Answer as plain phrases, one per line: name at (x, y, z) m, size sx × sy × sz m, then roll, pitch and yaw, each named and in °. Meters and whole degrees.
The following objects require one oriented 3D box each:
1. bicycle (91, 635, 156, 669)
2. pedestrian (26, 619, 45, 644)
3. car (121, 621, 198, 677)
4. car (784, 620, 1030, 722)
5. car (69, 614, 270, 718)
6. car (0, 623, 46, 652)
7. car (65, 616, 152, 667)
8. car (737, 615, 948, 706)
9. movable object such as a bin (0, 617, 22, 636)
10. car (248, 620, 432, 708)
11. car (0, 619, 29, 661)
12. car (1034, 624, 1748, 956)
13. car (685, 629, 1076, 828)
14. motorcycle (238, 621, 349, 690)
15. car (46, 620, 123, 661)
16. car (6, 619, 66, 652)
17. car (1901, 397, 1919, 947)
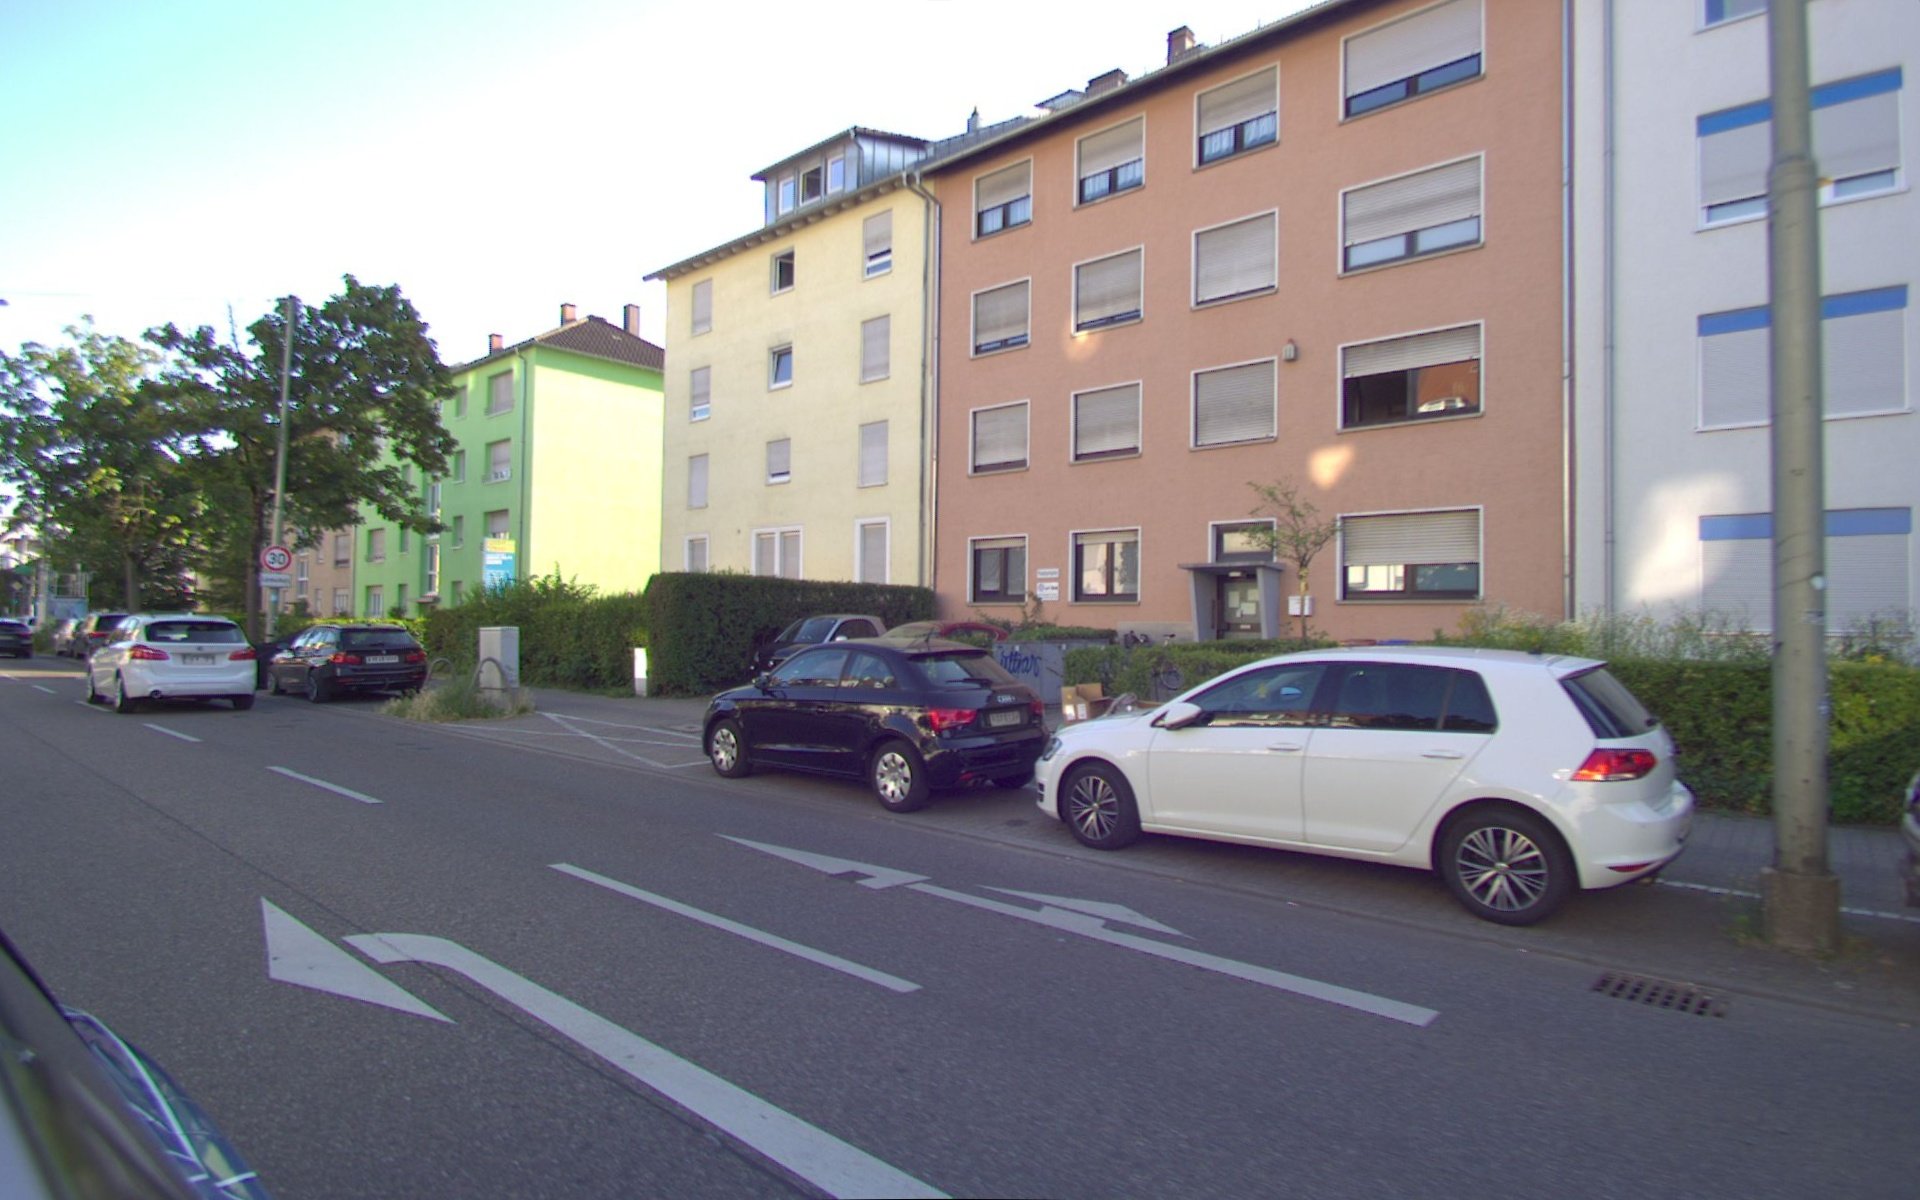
bicycle at (-28.561, 1.750, 34.556) m, size 0.560 × 1.097 × 1.656 m, roll -1°, pitch -1°, yaw 43°
pedestrian at (-62.335, 2.111, 68.235) m, size 0.607 × 1.670 × 0.741 m, roll -1°, pitch -2°, yaw 34°
car at (-24.600, 1.465, 31.069) m, size 2.862 × 1.629 × 1.482 m, roll -1°, pitch -2°, yaw 45°
car at (-0.793, 1.093, 17.033) m, size 1.915 × 1.423 × 3.945 m, roll -1°, pitch 0°, yaw 41°
car at (-13.477, 1.070, 17.172) m, size 4.264 × 1.555 × 1.860 m, roll -2°, pitch -3°, yaw 41°
car at (-49.499, 1.956, 53.321) m, size 3.943 × 1.490 × 1.635 m, roll -1°, pitch -3°, yaw 43°
car at (-31.102, 1.464, 36.914) m, size 4.616 × 1.746 × 1.764 m, roll -1°, pitch -3°, yaw 42°
car at (-2.140, 1.064, 19.266) m, size 1.628 × 1.540 × 3.945 m, roll -1°, pitch -2°, yaw 41°
movable object such as a bin at (-85.041, 2.360, 90.724) m, size 1.180 × 1.670 × 1.292 m, roll 0°, pitch 2°, yaw 41°
car at (-12.125, 1.160, 19.659) m, size 4.586 × 1.516 × 1.760 m, roll -1°, pitch -2°, yaw 41°
car at (-35.917, 1.443, 37.557) m, size 4.295 × 1.482 × 1.681 m, roll -1°, pitch -4°, yaw 44°
car at (2.623, 0.943, 6.755) m, size 4.057 × 1.503 × 1.689 m, roll -1°, pitch 0°, yaw 42°
car at (-0.904, 1.048, 9.740) m, size 3.812 × 1.484 × 1.594 m, roll -1°, pitch -1°, yaw 43°
motorcycle at (-14.914, 1.211, 22.713) m, size 0.980 × 1.399 × 2.022 m, roll 0°, pitch 0°, yaw 9°
car at (-34.969, 1.596, 40.384) m, size 4.188 × 1.533 × 1.665 m, roll -1°, pitch -2°, yaw 40°
car at (-45.831, 1.748, 50.195) m, size 3.782 × 1.564 × 1.621 m, roll -1°, pitch -2°, yaw 39°
car at (7.180, 0.366, 2.409) m, size 7.101 × 2.636 × 1.973 m, roll -1°, pitch -1°, yaw 41°
